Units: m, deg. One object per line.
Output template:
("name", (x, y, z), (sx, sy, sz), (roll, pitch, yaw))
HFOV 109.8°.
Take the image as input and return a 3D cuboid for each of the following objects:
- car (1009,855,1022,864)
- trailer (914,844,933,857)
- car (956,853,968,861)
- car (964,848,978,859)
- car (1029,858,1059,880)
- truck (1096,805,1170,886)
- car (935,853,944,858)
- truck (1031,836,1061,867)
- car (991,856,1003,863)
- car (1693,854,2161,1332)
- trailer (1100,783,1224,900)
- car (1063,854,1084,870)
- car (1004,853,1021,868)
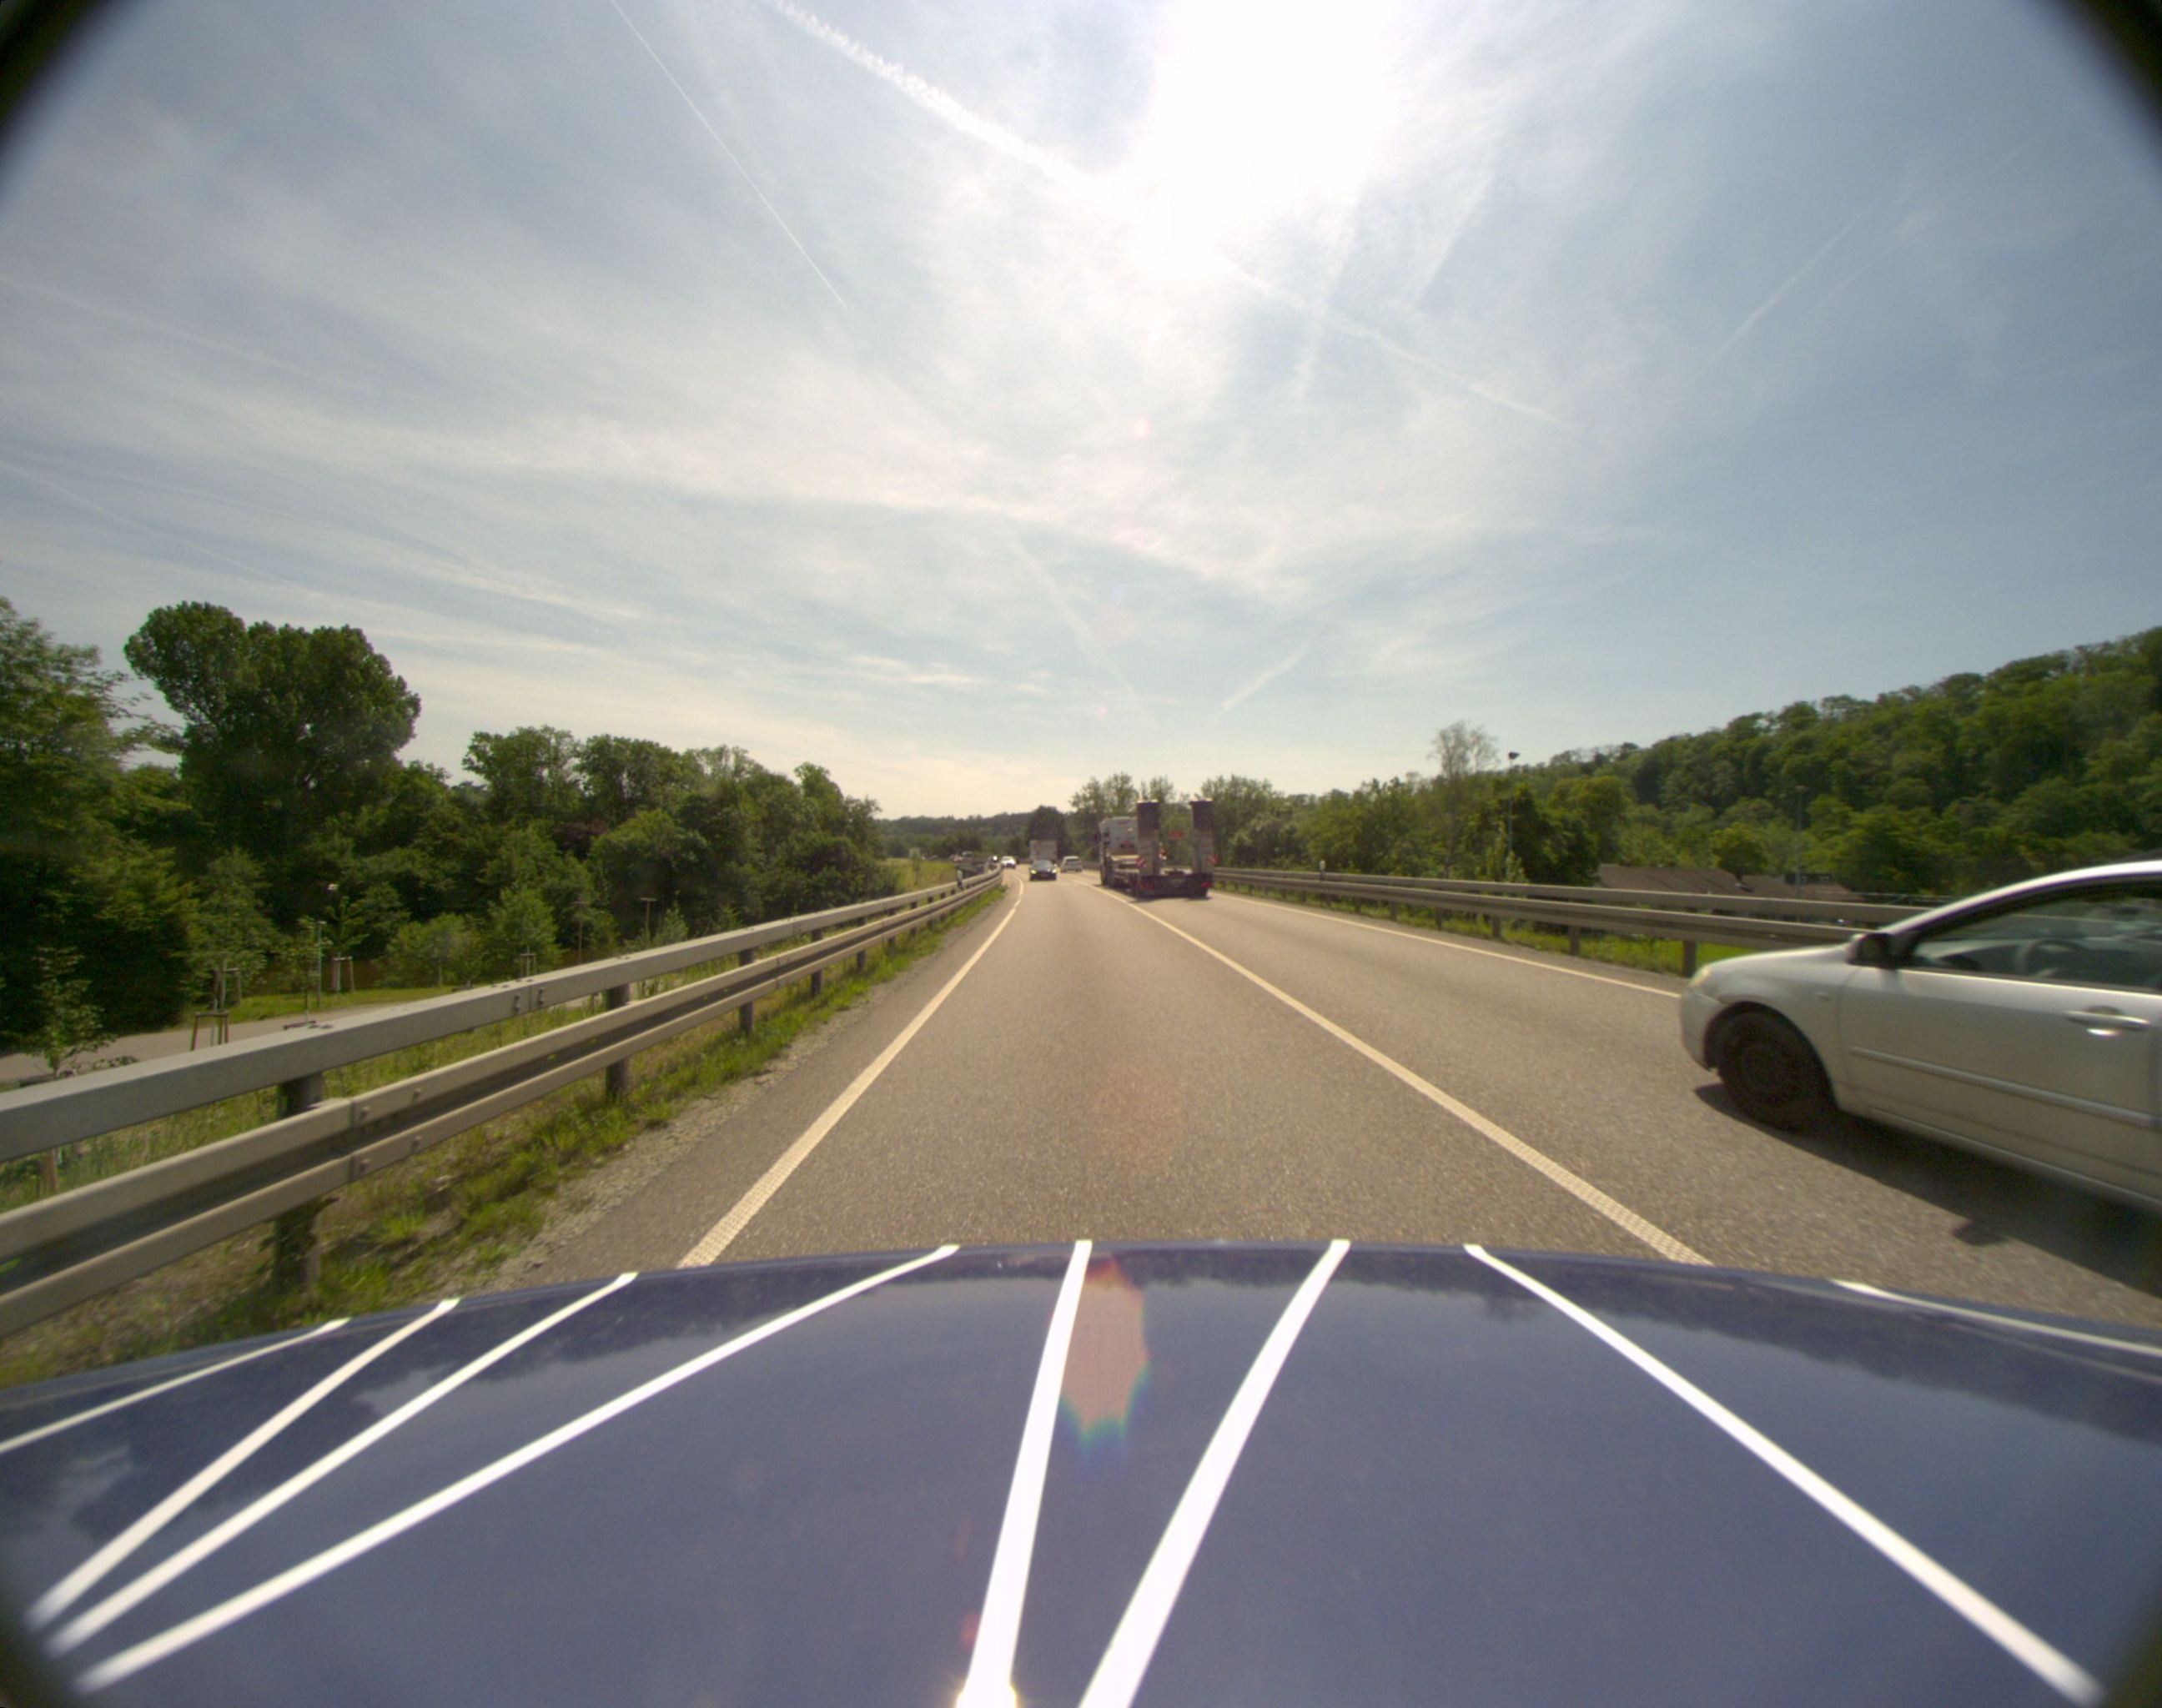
("car", (-11.705, 1.020, 135.802), (1.727, 1.474, 4.565), (-2, 0, -11))
("trailer", (-52.839, -1.167, 254.177), (2.866, 4.163, 14.468), (-2, 0, -25))
("car", (-27.871, 0.772, 177.636), (1.984, 1.722, 3.993), (-1, 0, -21))
("car", (-27.567, -0.221, 190.020), (2.188, 2.545, 5.785), (-2, 1, -21))
("car", (-2.623, 1.051, 53.873), (1.981, 1.333, 3.998), (-3, 1, -3))
("truck", (2.645, -0.433, 41.000), (3.127, 3.934, 6.620), (-1, 0, -3))
("car", (-43.743, 0.562, 234.536), (1.669, 1.449, 3.886), (3, -1, -24))
("truck", (-4.609, -0.312, 98.889), (2.924, 3.781, 9.701), (-2, 0, -8))
("car", (-17.404, 1.103, 157.541), (1.727, 1.427, 4.611), (-2, 0, -14))
("car", (4.357, 0.777, 2.228), (1.772, 1.485, 4.170), (-2, 0, 1))
("trailer", (2.985, -0.432, 33.851), (3.127, 3.956, 15.352), (-1, 0, -3))
("car", (-0.750, 0.828, 75.395), (1.763, 1.503, 3.999), (-2, 0, -4))
("car", (-9.384, 0.859, 103.596), (1.982, 1.779, 3.996), (-2, 1, -9))
